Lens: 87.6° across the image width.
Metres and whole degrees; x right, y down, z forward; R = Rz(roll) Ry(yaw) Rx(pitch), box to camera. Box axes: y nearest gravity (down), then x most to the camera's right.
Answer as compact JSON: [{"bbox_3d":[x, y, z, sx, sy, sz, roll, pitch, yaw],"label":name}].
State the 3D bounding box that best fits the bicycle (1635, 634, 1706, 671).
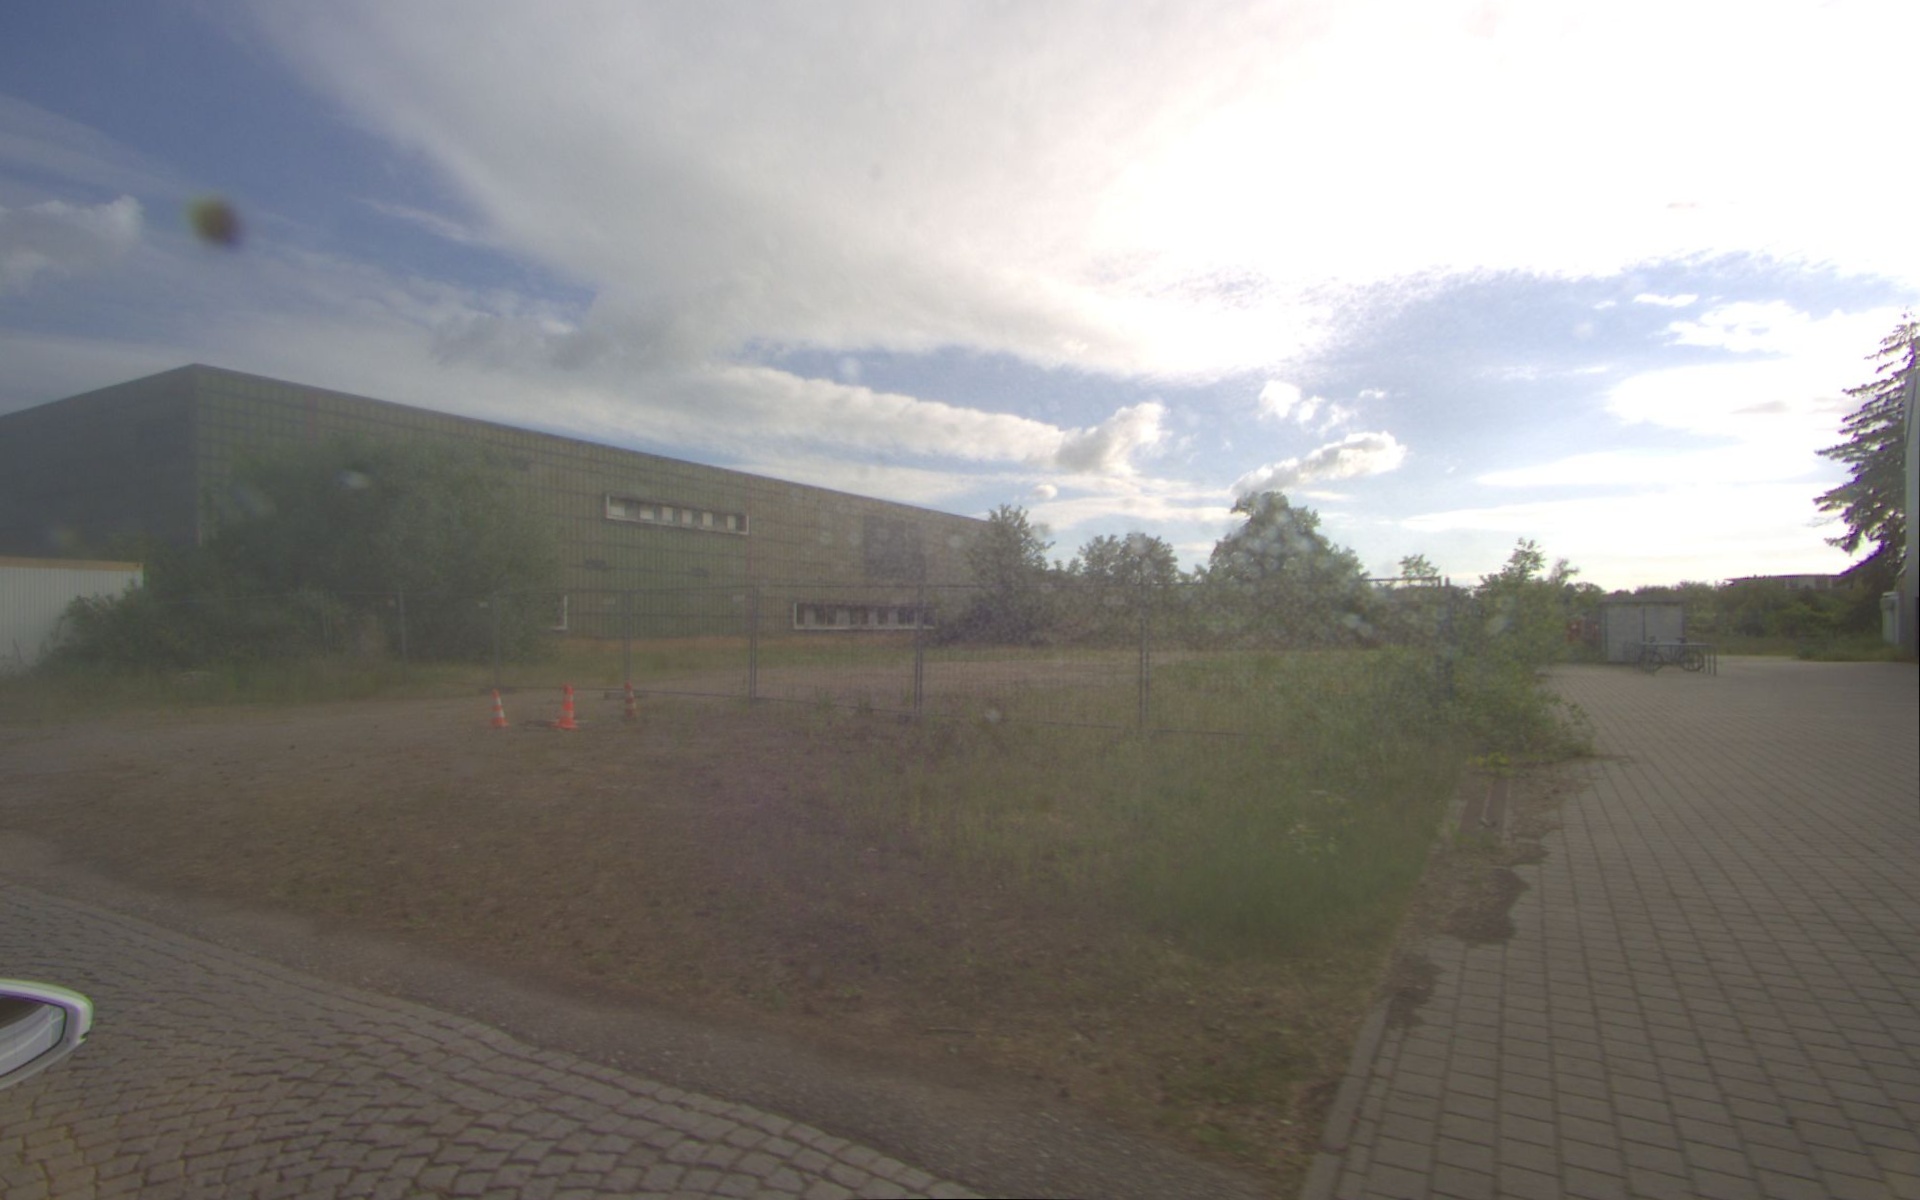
[{"bbox_3d":[21.907,1.620,30.926,1.738,1.112,0.520,-1,-3,31],"label":"bicycle"}]
